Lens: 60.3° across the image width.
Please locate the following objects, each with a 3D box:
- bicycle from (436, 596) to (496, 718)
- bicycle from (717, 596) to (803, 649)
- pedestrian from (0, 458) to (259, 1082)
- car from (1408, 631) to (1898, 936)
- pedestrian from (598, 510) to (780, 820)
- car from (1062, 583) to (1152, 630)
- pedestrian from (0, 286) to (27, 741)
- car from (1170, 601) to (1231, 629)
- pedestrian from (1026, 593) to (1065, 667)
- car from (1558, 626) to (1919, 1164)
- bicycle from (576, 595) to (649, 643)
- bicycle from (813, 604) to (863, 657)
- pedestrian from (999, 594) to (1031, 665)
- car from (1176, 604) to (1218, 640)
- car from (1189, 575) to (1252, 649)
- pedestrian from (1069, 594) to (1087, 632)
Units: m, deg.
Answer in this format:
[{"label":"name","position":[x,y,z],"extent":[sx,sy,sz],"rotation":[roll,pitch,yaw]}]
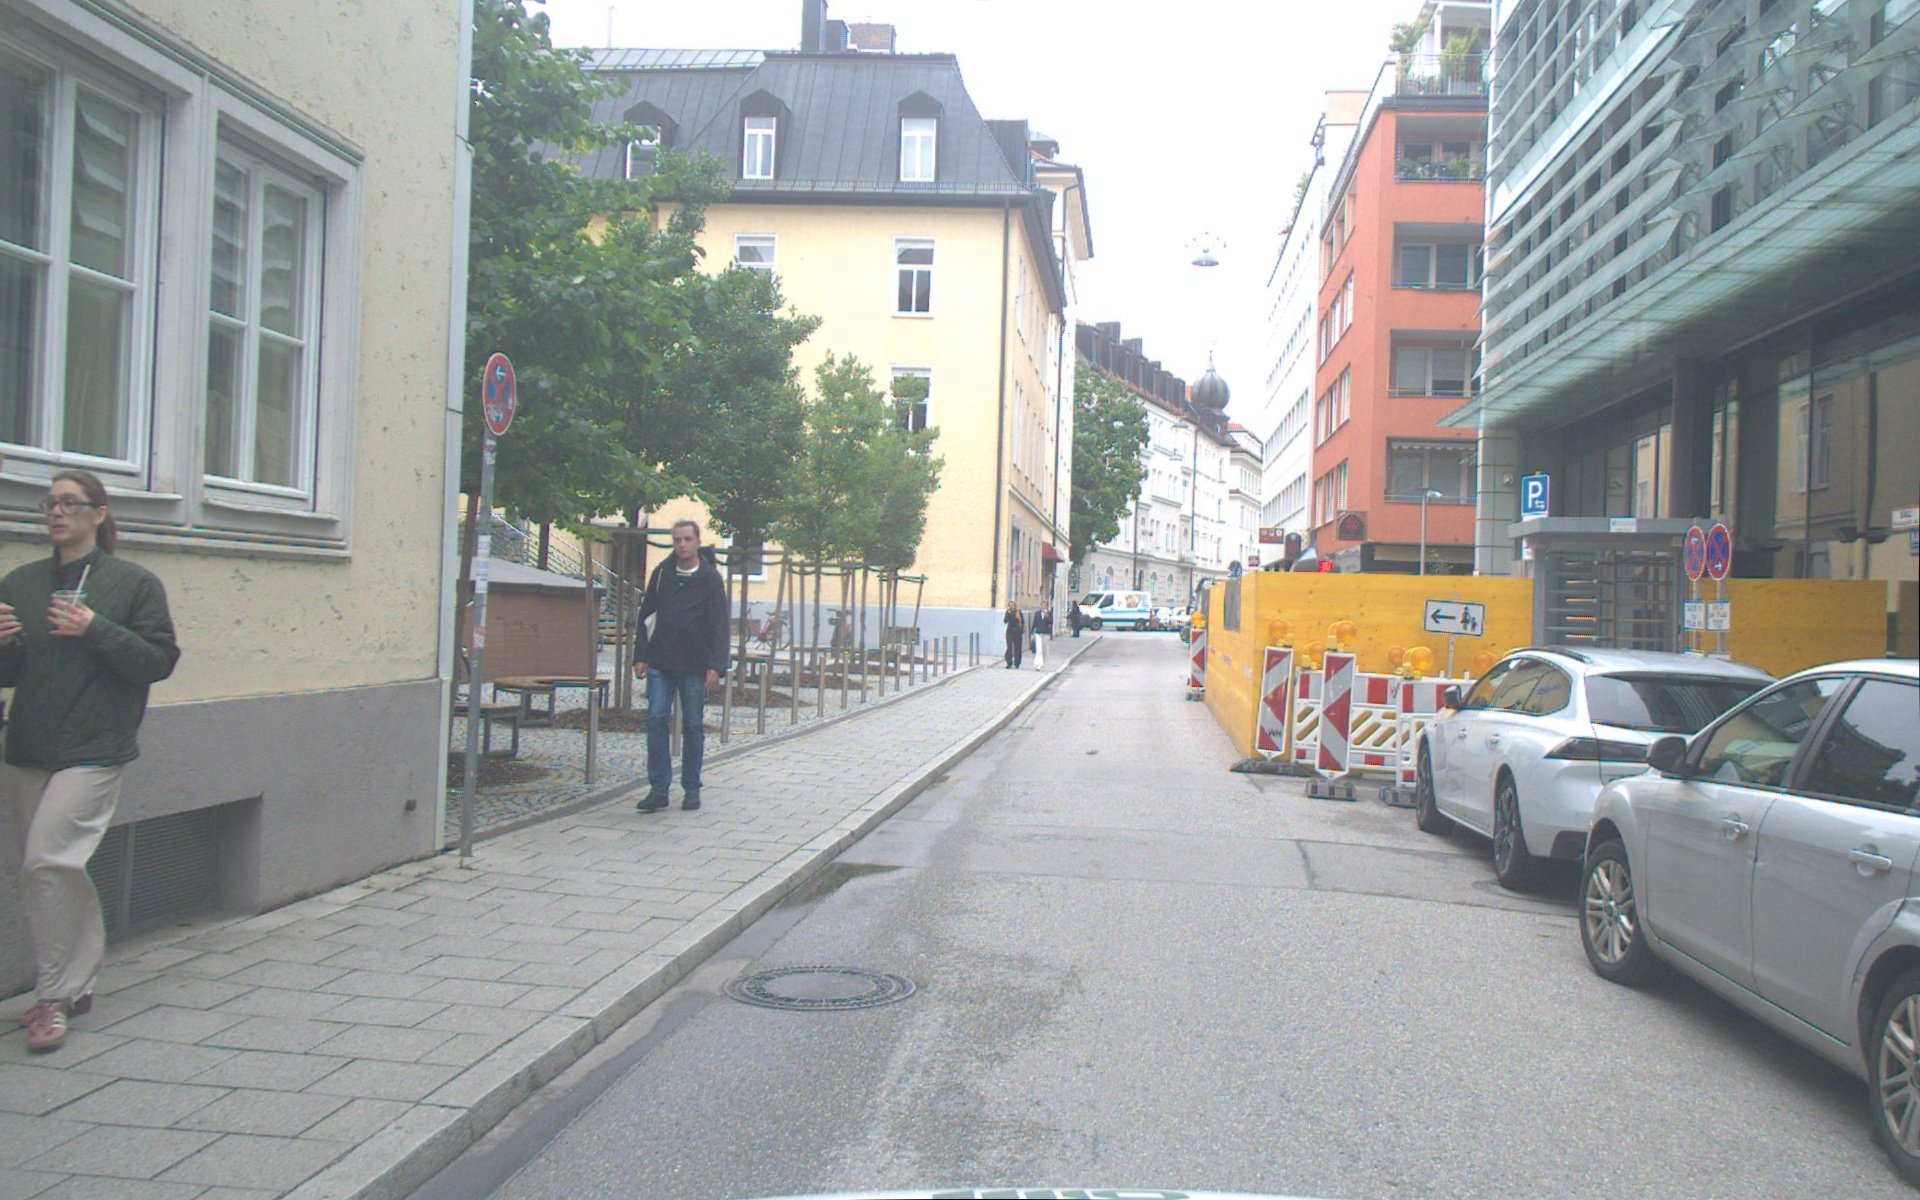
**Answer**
[{"label":"bicycle","position":[-5.361,0.593,17.990],"extent":[0.541,1.218,1.830],"rotation":[3,0,-16]},{"label":"bicycle","position":[-4.967,0.557,41.086],"extent":[2.000,1.218,0.570],"rotation":[3,0,13]},{"label":"pedestrian","position":[-2.632,0.463,4.955],"extent":[0.633,1.705,0.724],"rotation":[3,-1,5]},{"label":"car","position":[4.223,0.994,10.900],"extent":[1.672,1.438,4.512],"rotation":[4,0,6]},{"label":"pedestrian","position":[-1.777,0.412,11.037],"extent":[0.849,1.914,1.135],"rotation":[3,0,5]},{"label":"car","position":[8.500,0.381,95.405],"extent":[4.929,2.440,1.978],"rotation":[3,0,-32]},{"label":"pedestrian","position":[-2.135,0.372,2.433],"extent":[0.741,1.887,1.077],"rotation":[3,0,6]},{"label":"car","position":[15.013,0.955,103.073],"extent":[3.968,1.601,1.670],"rotation":[3,0,-44]},{"label":"pedestrian","position":[2.069,0.724,39.902],"extent":[0.821,1.730,0.803],"rotation":[3,0,6]},{"label":"car","position":[3.638,0.908,5.774],"extent":[1.672,1.493,4.238],"rotation":[4,0,3]},{"label":"bicycle","position":[-8.643,0.476,41.200],"extent":[1.621,1.088,0.598],"rotation":[3,0,10]},{"label":"bicycle","position":[-2.831,0.705,38.547],"extent":[0.499,1.164,2.053],"rotation":[3,0,14]},{"label":"pedestrian","position":[1.348,0.723,40.237],"extent":[0.656,1.677,0.762],"rotation":[3,0,5]},{"label":"car","position":[11.582,1.054,81.062],"extent":[1.773,1.590,4.277],"rotation":[3,0,5]},{"label":"car","position":[9.835,0.448,62.766],"extent":[1.951,2.581,4.978],"rotation":[3,0,5]},{"label":"pedestrian","position":[5.360,0.589,75.146],"extent":[0.625,1.704,0.515],"rotation":[3,0,-18]}]
